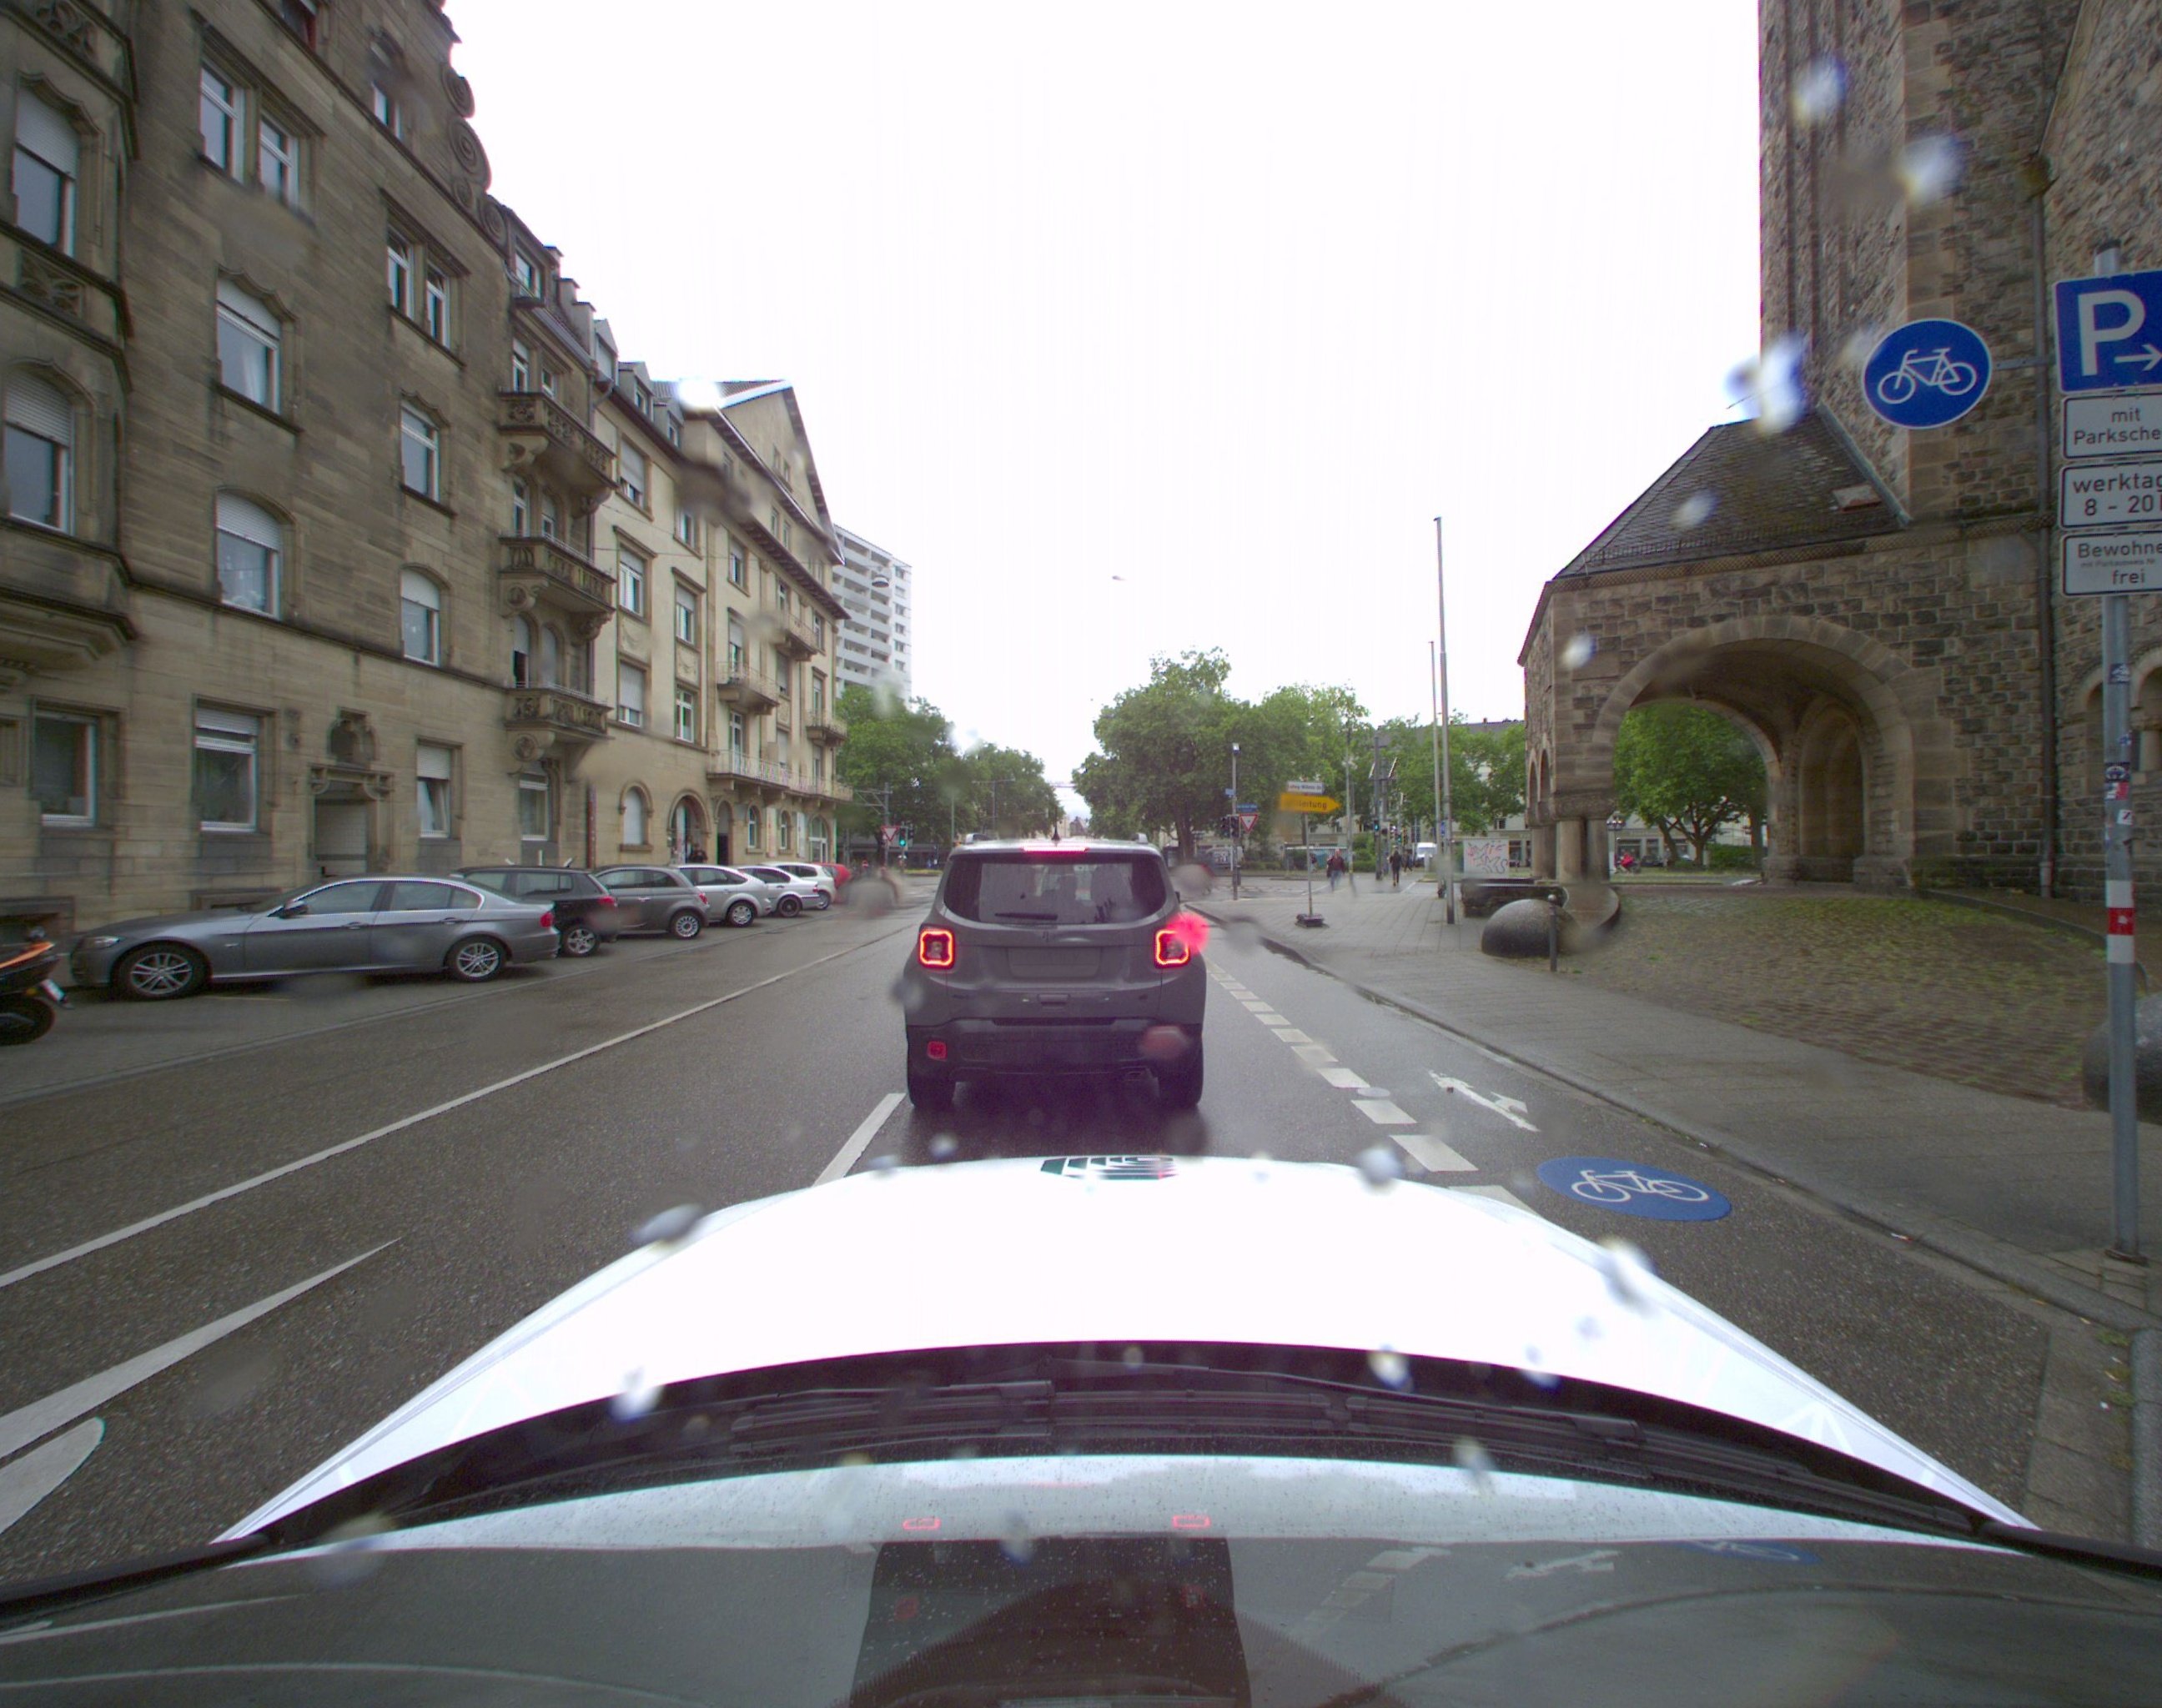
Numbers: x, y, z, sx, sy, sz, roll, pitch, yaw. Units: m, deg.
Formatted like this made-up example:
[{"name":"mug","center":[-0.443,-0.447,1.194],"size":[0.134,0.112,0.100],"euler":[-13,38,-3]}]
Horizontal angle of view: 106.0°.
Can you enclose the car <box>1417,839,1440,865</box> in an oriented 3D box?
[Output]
[{"name":"car","center":[35.509,-0.158,83.207],"size":[1.889,2.555,4.815],"euler":[-1,0,25]}]

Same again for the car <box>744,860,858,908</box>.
[{"name":"car","center":[-9.767,1.000,28.511],"size":[3.419,1.558,1.686],"euler":[-1,0,-38]}]

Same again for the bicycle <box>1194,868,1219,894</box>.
[{"name":"bicycle","center":[5.467,1.156,35.316],"size":[0.686,1.021,2.669],"euler":[-2,0,16]}]

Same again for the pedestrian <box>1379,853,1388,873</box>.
[{"name":"pedestrian","center":[24.657,0.732,66.368],"size":[0.607,1.603,0.497],"euler":[-1,-1,26]}]

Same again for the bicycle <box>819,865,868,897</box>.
[{"name":"bicycle","center":[-9.596,1.093,32.888],"size":[1.804,1.266,0.498],"euler":[-1,-1,-1]}]

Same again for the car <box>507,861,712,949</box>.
[{"name":"car","center":[-9.538,0.958,16.560],"size":[3.419,1.558,1.634],"euler":[-1,0,-38]}]

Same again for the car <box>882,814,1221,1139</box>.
[{"name":"car","center":[-0.133,0.660,6.296],"size":[1.769,1.687,3.848],"euler":[-2,0,1]}]

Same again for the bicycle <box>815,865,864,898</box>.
[{"name":"bicycle","center":[-9.593,1.099,32.341],"size":[1.758,1.266,0.522],"euler":[-1,-1,-1]}]

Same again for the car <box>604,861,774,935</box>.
[{"name":"car","center":[-9.390,0.984,19.588],"size":[3.419,1.558,1.686],"euler":[-1,0,-38]}]

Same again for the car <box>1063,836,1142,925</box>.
[{"name":"car","center":[0.542,0.602,20.675],"size":[1.764,2.013,4.001],"euler":[-1,0,1]}]

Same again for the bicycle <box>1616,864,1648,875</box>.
[{"name":"bicycle","center":[37.195,1.051,54.953],"size":[1.683,0.719,0.656],"euler":[-1,0,22]}]

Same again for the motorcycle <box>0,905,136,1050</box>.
[{"name":"motorcycle","center":[-9.408,1.030,6.771],"size":[1.880,1.162,0.627],"euler":[2,-2,-36]}]

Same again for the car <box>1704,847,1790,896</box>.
[{"name":"car","center":[21.463,0.537,26.363],"size":[1.389,1.479,3.239],"euler":[-1,0,25]}]

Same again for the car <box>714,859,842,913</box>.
[{"name":"car","center":[-9.510,0.961,25.636],"size":[3.419,1.558,1.686],"euler":[-1,0,-38]}]

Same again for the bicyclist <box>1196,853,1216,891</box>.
[{"name":"bicyclist","center":[5.422,0.757,35.193],"size":[0.681,1.617,0.887],"euler":[-2,0,16]}]

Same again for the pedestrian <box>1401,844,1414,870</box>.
[{"name":"pedestrian","center":[26.081,0.236,65.059],"size":[0.798,2.014,0.593],"euler":[-1,-1,28]}]

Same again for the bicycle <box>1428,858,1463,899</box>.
[{"name":"bicycle","center":[11.017,0.716,24.656],"size":[0.327,1.154,2.079],"euler":[-1,0,7]}]

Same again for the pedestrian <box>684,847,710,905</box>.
[{"name":"pedestrian","center":[-13.464,0.770,28.576],"size":[0.565,2.014,0.655],"euler":[-1,-1,1]}]

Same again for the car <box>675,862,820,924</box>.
[{"name":"car","center":[-9.284,1.017,22.771],"size":[3.419,1.558,1.686],"euler":[-1,0,-38]}]

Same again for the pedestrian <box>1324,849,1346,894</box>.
[{"name":"pedestrian","center":[10.086,0.682,32.322],"size":[0.780,1.759,0.949],"euler":[-2,-1,16]}]

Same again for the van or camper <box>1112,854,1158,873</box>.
[{"name":"van or camper","center":[8.209,1.467,124.765],"size":[6.466,2.912,2.509],"euler":[-1,0,26]}]

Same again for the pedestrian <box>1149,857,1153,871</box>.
[{"name":"pedestrian","center":[8.709,1.210,100.720],"size":[0.456,1.704,0.424],"euler":[-1,-1,2]}]

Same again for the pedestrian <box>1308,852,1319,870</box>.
[{"name":"pedestrian","center":[19.448,0.592,68.145],"size":[0.667,1.554,0.766],"euler":[-1,-2,29]}]

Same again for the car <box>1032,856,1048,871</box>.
[{"name":"car","center":[-4.666,1.068,92.362],"size":[1.810,1.670,3.916],"euler":[-1,0,-3]}]

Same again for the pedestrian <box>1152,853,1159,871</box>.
[{"name":"pedestrian","center":[8.450,0.915,92.583],"size":[0.646,2.014,0.484],"euler":[-1,-1,14]}]

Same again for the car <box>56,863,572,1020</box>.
[{"name":"car","center":[-9.411,0.930,10.546],"size":[4.573,1.545,1.668],"euler":[-1,0,-42]}]

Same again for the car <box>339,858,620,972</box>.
[{"name":"car","center":[-9.780,0.900,13.476],"size":[3.571,1.598,1.587],"euler":[-1,0,-38]}]

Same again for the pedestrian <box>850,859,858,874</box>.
[{"name":"pedestrian","center":[-23.423,1.305,84.104],"size":[0.438,1.530,0.647],"euler":[-1,-1,30]}]

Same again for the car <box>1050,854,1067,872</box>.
[{"name":"car","center":[-2.374,0.933,84.507],"size":[1.717,1.739,3.726],"euler":[-1,0,-2]}]

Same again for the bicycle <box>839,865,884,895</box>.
[{"name":"bicycle","center":[-9.568,1.139,35.480],"size":[1.758,1.266,0.608],"euler":[-1,-1,-1]}]

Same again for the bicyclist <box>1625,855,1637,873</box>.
[{"name":"bicyclist","center":[37.141,0.668,54.988],"size":[0.518,1.250,0.656],"euler":[-1,-1,23]}]

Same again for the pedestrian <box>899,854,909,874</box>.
[{"name":"pedestrian","center":[-16.236,0.925,74.547],"size":[0.614,1.826,0.697],"euler":[-2,-1,15]}]

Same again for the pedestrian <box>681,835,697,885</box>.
[{"name":"pedestrian","center":[-14.442,0.208,29.999],"size":[0.365,1.823,0.347],"euler":[-2,-1,-1]}]

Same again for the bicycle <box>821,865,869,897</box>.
[{"name":"bicycle","center":[-9.707,1.106,33.574],"size":[1.804,1.266,0.498],"euler":[-1,-1,-1]}]

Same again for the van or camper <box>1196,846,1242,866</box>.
[{"name":"van or camper","center":[15.999,0.227,94.611],"size":[5.234,2.315,2.093],"euler":[0,0,5]}]

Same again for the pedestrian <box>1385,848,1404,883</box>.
[{"name":"pedestrian","center":[15.138,0.552,39.298],"size":[0.775,1.645,0.659],"euler":[-2,-1,25]}]
